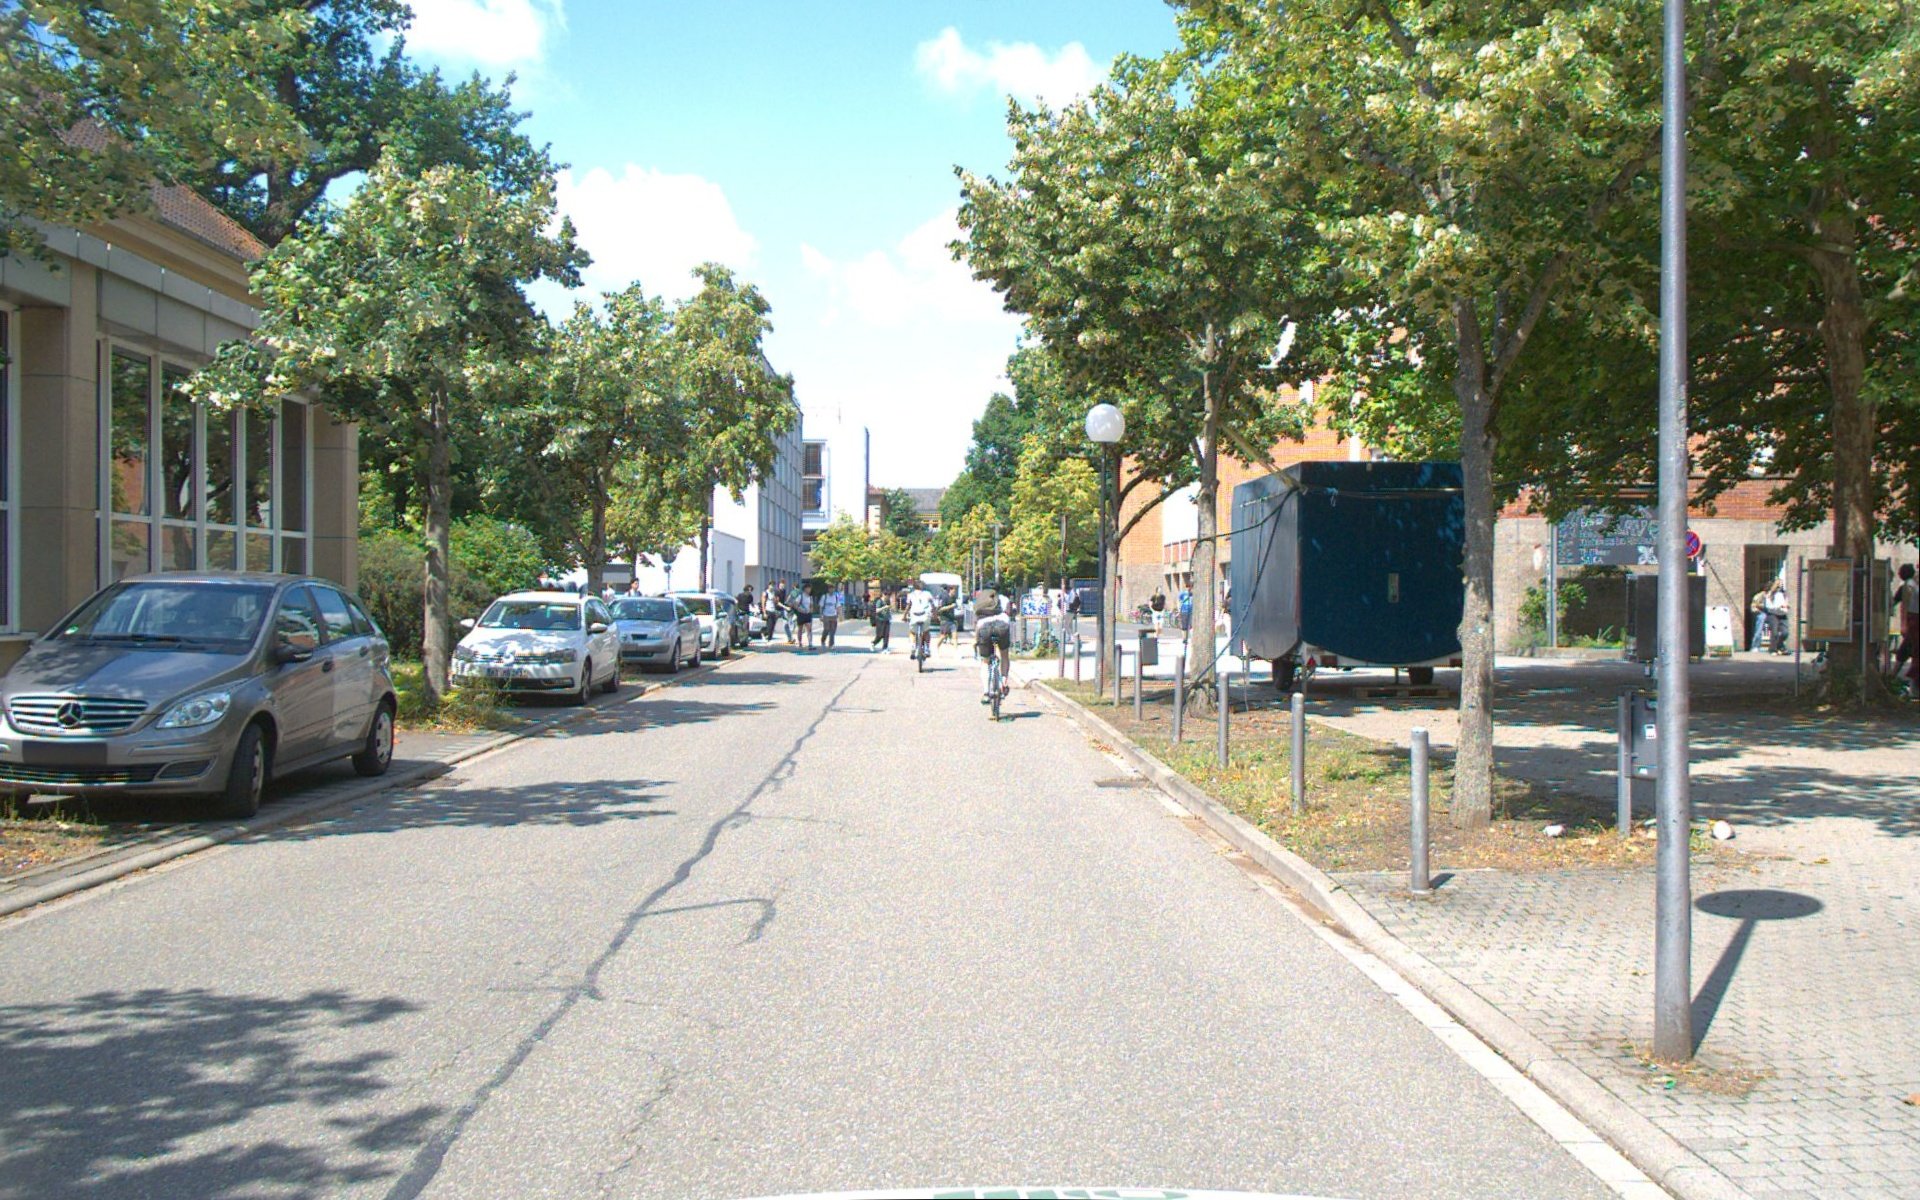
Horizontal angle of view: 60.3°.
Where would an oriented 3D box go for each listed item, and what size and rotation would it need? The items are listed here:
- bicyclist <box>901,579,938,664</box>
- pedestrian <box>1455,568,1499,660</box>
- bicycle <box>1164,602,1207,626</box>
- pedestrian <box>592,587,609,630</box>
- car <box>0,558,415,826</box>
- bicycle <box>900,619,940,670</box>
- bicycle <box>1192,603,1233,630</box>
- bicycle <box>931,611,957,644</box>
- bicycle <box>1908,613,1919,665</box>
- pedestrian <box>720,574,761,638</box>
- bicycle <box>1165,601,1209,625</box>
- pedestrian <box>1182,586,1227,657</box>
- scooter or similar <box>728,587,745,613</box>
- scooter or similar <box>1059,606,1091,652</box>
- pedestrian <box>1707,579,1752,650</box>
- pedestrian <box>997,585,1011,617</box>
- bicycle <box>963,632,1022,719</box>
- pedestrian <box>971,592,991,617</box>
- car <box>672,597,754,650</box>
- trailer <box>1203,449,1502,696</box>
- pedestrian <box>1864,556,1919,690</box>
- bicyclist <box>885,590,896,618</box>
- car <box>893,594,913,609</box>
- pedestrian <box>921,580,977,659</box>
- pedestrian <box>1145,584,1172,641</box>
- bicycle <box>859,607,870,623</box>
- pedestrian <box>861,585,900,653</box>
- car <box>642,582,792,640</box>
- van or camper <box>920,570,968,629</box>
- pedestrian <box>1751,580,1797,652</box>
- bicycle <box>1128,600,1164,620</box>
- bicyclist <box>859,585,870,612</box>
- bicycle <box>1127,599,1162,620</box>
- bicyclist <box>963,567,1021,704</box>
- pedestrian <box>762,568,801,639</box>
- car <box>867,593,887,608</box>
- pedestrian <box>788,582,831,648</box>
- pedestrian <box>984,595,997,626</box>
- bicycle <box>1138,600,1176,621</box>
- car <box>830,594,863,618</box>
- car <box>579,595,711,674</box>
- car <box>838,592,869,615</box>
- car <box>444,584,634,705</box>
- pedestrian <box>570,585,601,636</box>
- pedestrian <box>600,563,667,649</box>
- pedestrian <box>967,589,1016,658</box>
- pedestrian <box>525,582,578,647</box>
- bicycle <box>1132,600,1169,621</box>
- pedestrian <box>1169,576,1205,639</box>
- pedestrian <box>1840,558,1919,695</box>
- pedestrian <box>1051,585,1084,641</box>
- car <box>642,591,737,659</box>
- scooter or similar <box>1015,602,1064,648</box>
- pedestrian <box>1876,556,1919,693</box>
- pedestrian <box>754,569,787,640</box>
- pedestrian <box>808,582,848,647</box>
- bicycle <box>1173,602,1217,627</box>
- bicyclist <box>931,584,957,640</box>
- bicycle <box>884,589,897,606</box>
[{"bbox_3d":[-0.848,0.446,34.856,0.755,1.787,0.848,0,0,-1],"label":"bicyclist"},{"bbox_3d":[10.514,0.268,33.635,0.583,1.828,0.727,-2,2,-5],"label":"pedestrian"},{"bbox_3d":[9.875,0.593,72.496,1.773,1.002,0.560,-1,0,-2],"label":"bicycle"},{"bbox_3d":[-15.106,0.370,69.475,0.540,1.795,0.586,1,-1,-1],"label":"pedestrian"},{"bbox_3d":[-5.465,0.558,12.104,1.722,1.583,4.111,2,0,-3],"label":"car"},{"bbox_3d":[-0.847,0.924,34.847,0.792,1.020,2.123,-1,0,-2],"label":"bicycle"},{"bbox_3d":[9.884,0.647,64.670,1.504,1.051,0.560,-1,0,-2],"label":"bicycle"},{"bbox_3d":[-0.509,0.882,53.100,0.792,1.020,2.123,1,-1,0],"label":"bicycle"},{"bbox_3d":[21.137,0.832,35.338,1.998,1.099,0.615,0,0,-30],"label":"bicycle"},{"bbox_3d":[-6.362,0.168,47.997,0.785,1.803,0.854,3,1,23],"label":"pedestrian"},{"bbox_3d":[9.861,0.574,71.861,1.773,1.002,0.560,-1,0,-2],"label":"bicycle"},{"bbox_3d":[6.074,0.523,41.167,0.858,1.666,0.948,-4,0,-1],"label":"pedestrian"},{"bbox_3d":[-10.814,0.017,79.972,0.369,1.237,1.206,0,0,15],"label":"scooter or similar"},{"bbox_3d":[3.062,0.769,44.020,0.635,1.180,1.265,0,0,14],"label":"scooter or similar"},{"bbox_3d":[17.951,0.325,38.580,0.646,1.635,0.678,-1,0,-16],"label":"pedestrian"},{"bbox_3d":[2.613,0.071,98.468,0.774,1.892,1.026,-1,0,0],"label":"pedestrian"},{"bbox_3d":[0.408,0.929,20.850,0.692,1.010,1.911,1,0,1],"label":"bicycle"},{"bbox_3d":[1.733,0.376,139.055,1.470,2.031,1.645,-3,1,-3],"label":"pedestrian"},{"bbox_3d":[-6.552,0.591,44.207,1.611,1.323,3.927,0,0,0],"label":"car"},{"bbox_3d":[5.478,-0.358,24.246,2.637,3.105,6.254,-1,0,-2],"label":"trailer"},{"bbox_3d":[13.233,0.301,22.857,0.940,1.806,0.917,0,1,-9],"label":"pedestrian"},{"bbox_3d":[-4.350,0.231,103.367,0.653,1.711,0.993,-1,0,0],"label":"bicyclist"},{"bbox_3d":[-6.044,0.108,175.450,1.758,1.557,4.001,0,0,3],"label":"car"},{"bbox_3d":[-0.279,0.495,42.441,1.094,1.891,0.852,5,5,35],"label":"pedestrian"},{"bbox_3d":[5.973,0.378,49.747,0.495,1.658,0.567,-5,2,-23],"label":"pedestrian"},{"bbox_3d":[-5.899,0.930,102.451,0.663,0.981,2.002,0,0,-3],"label":"bicycle"},{"bbox_3d":[-2.107,0.492,43.874,0.691,1.750,0.988,3,-1,-21],"label":"pedestrian"},{"bbox_3d":[-7.942,0.346,54.009,4.414,1.647,1.924,3,-1,22],"label":"car"},{"bbox_3d":[-0.672,0.007,72.742,1.952,2.488,4.570,-1,-1,1],"label":"van or camper"},{"bbox_3d":[18.723,0.370,38.062,0.646,1.635,0.678,-1,0,-16],"label":"pedestrian"},{"bbox_3d":[9.590,0.502,85.467,1.773,1.002,0.560,-1,0,-2],"label":"bicycle"},{"bbox_3d":[-5.918,-0.081,102.541,0.630,1.629,0.908,-1,0,-3],"label":"bicyclist"},{"bbox_3d":[9.639,0.496,86.432,1.773,1.002,0.560,-1,0,-2],"label":"bicycle"},{"bbox_3d":[0.411,0.443,21.000,0.702,1.691,1.095,1,-1,1],"label":"bicyclist"},{"bbox_3d":[-5.239,0.098,48.613,0.809,2.014,0.691,3,1,23],"label":"pedestrian"},{"bbox_3d":[-8.826,0.060,176.306,1.758,1.557,4.001,0,0,3],"label":"car"},{"bbox_3d":[-4.111,0.408,45.096,0.965,1.770,0.697,-1,-1,39],"label":"pedestrian"},{"bbox_3d":[1.826,0.647,100.341,0.774,1.892,1.026,0,0,0],"label":"pedestrian"},{"bbox_3d":[9.716,0.527,81.598,1.773,1.002,0.560,-1,0,-2],"label":"bicycle"},{"bbox_3d":[-7.514,0.362,109.588,1.758,1.557,4.001,0,0,3],"label":"car"},{"bbox_3d":[-5.992,0.613,31.867,1.690,1.367,4.165,2,0,0],"label":"car"},{"bbox_3d":[-7.525,0.221,117.002,1.758,1.557,4.001,0,0,3],"label":"car"},{"bbox_3d":[-5.814,0.577,23.369,1.691,1.482,4.580,2,0,-3],"label":"car"},{"bbox_3d":[-13.489,0.372,59.557,0.962,1.817,0.668,0,-1,-3],"label":"pedestrian"},{"bbox_3d":[-7.038,0.126,35.678,1.086,1.746,0.708,2,-4,33],"label":"pedestrian"},{"bbox_3d":[0.767,0.564,39.971,0.844,1.623,0.817,-1,1,-44],"label":"pedestrian"},{"bbox_3d":[-13.131,0.481,53.193,1.151,1.937,1.017,-2,-10,26],"label":"pedestrian"},{"bbox_3d":[9.576,0.518,83.129,1.773,1.002,0.560,-1,0,-2],"label":"bicycle"},{"bbox_3d":[6.854,0.216,49.988,0.699,1.818,0.747,-5,2,-23],"label":"pedestrian"},{"bbox_3d":[11.618,0.327,20.775,0.683,1.690,0.788,-1,0,-1],"label":"pedestrian"},{"bbox_3d":[3.409,0.404,52.507,0.938,1.724,0.705,2,2,9],"label":"pedestrian"},{"bbox_3d":[-6.163,0.530,38.014,1.628,1.436,3.806,1,0,-2],"label":"car"},{"bbox_3d":[2.227,0.697,46.365,1.237,1.287,0.638,0,0,31],"label":"scooter or similar"},{"bbox_3d":[12.166,0.298,20.844,0.749,1.690,0.824,-1,0,-1],"label":"pedestrian"},{"bbox_3d":[-5.463,0.127,47.686,0.610,2.015,0.819,0,-2,-33],"label":"pedestrian"},{"bbox_3d":[-3.639,0.404,45.625,0.891,1.769,0.676,0,0,37],"label":"pedestrian"},{"bbox_3d":[10.035,0.619,70.635,1.773,1.002,0.560,-1,0,-2],"label":"bicycle"},{"bbox_3d":[-0.510,0.394,53.128,0.792,1.787,0.692,1,-1,-1],"label":"bicyclist"},{"bbox_3d":[-4.338,-0.121,102.961,0.663,0.982,2.002,2,-1,0],"label":"bicycle"}]
